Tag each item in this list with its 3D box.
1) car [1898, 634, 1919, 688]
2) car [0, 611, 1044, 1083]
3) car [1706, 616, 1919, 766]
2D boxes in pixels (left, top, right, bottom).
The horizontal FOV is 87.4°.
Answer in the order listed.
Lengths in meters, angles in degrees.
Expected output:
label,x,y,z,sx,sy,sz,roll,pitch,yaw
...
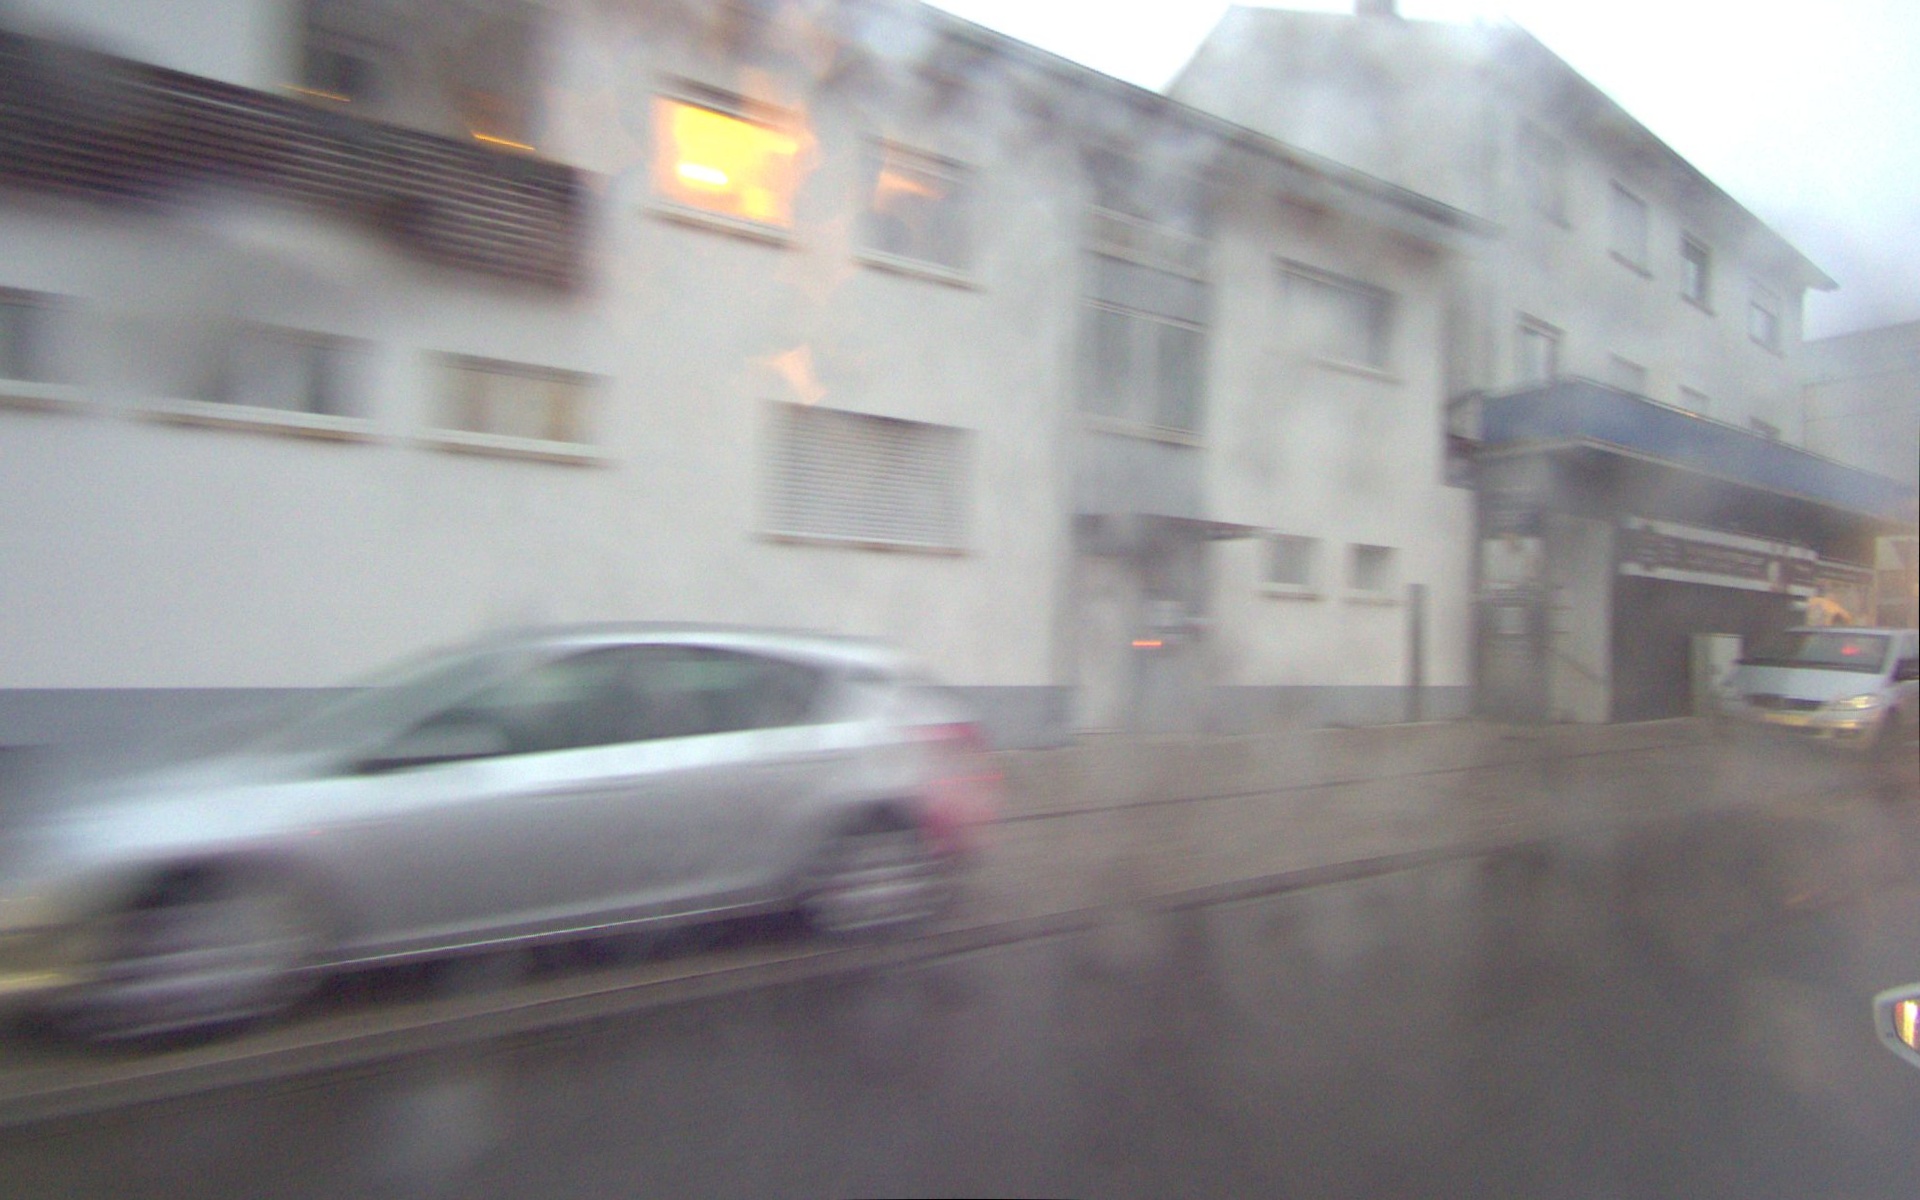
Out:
label,x,y,z,sx,sy,sz,roll,pitch,yaw
car,30.222,1.802,30.503,4.407,1.519,1.752,0,-1,-36
car,-1.913,0.848,4.852,4.338,1.476,1.787,1,0,-27
car,11.609,1.081,13.112,3.773,1.636,1.711,1,1,-32
